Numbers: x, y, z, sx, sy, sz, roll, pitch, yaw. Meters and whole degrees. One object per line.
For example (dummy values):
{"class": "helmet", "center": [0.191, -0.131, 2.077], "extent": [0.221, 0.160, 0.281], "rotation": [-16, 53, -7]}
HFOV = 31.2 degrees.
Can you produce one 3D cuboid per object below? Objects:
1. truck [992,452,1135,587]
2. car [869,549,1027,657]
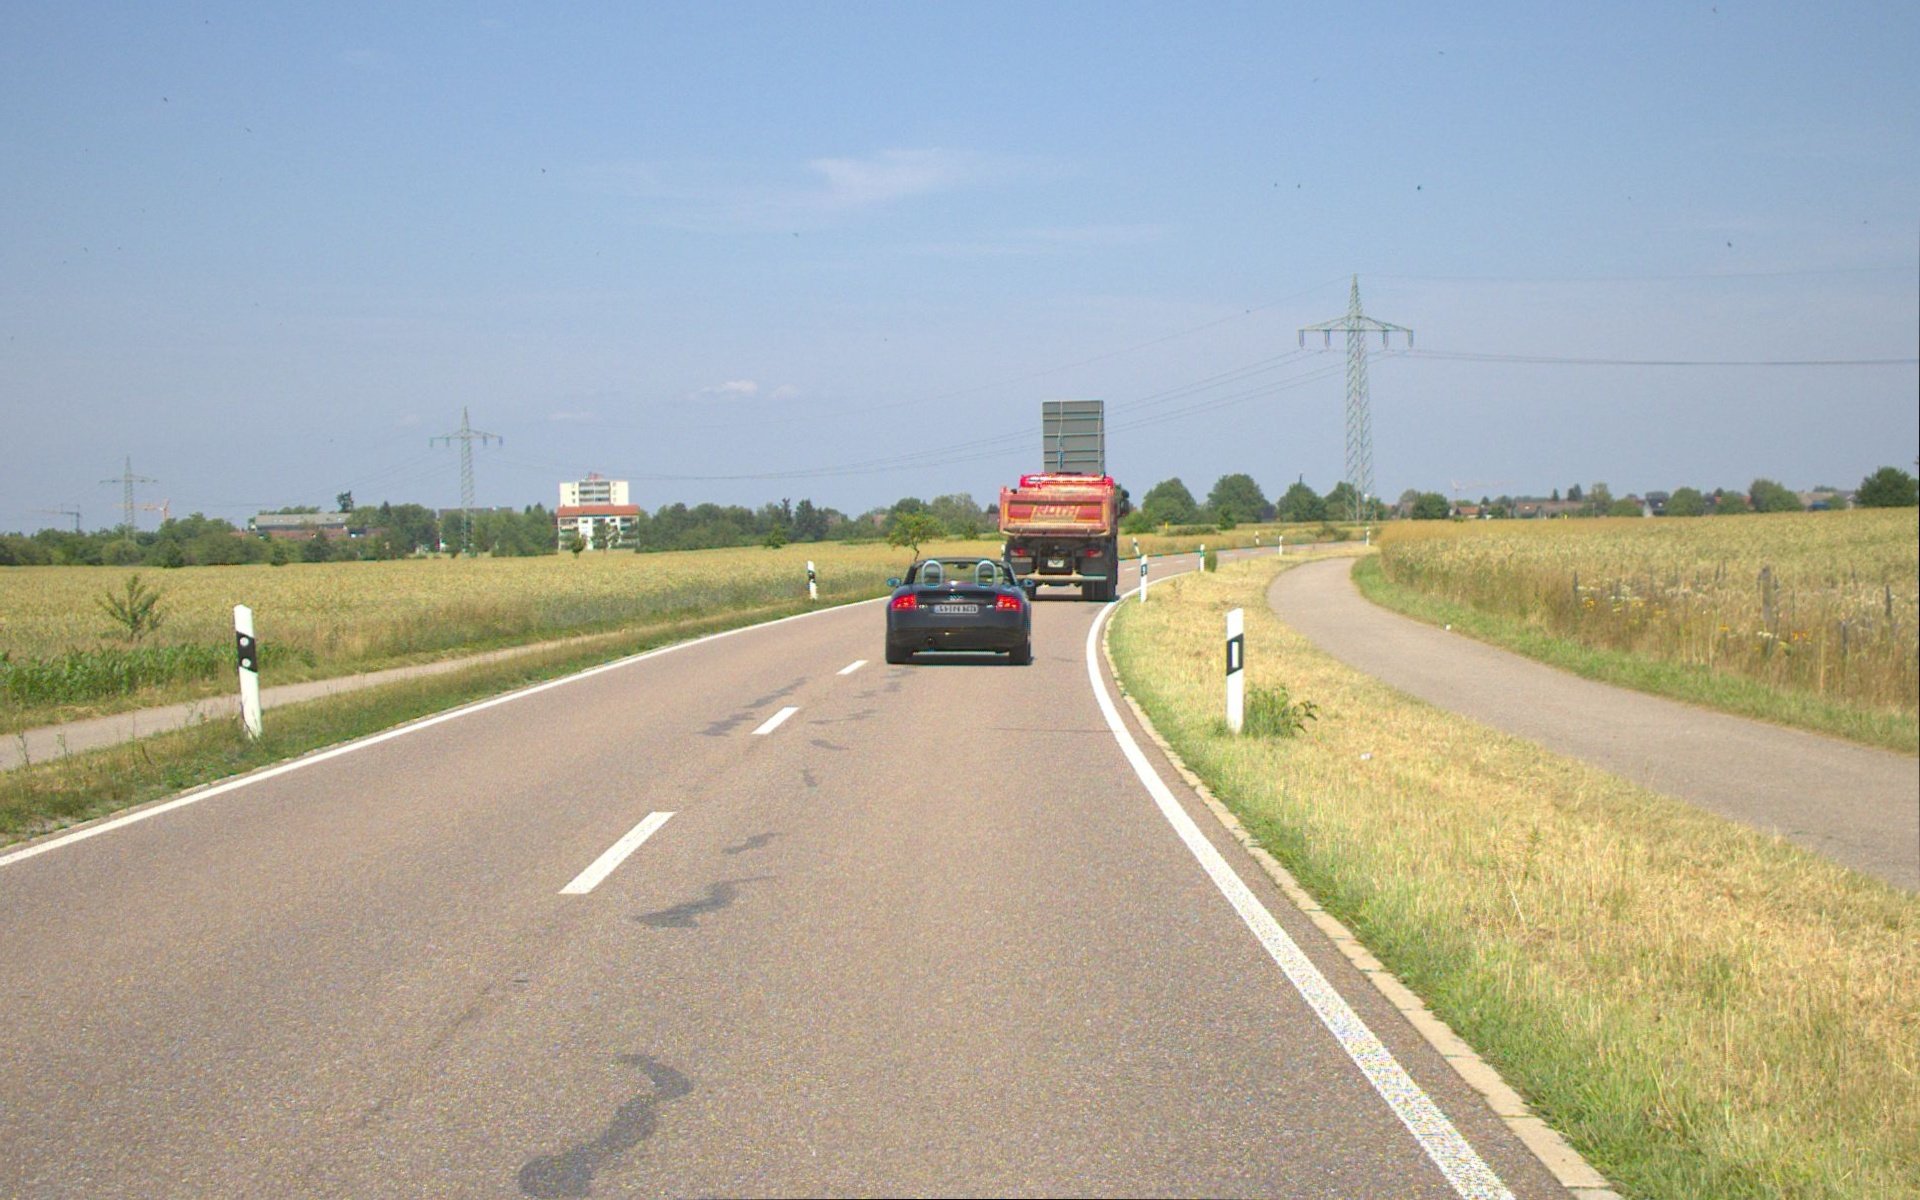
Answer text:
{"class": "truck", "center": [2.551, -1.877, 82.336], "extent": [2.938, 3.078, 7.195], "rotation": [0, 0, 6]}
{"class": "car", "center": [-0.102, 0.014, 42.800], "extent": [1.744, 1.275, 4.000], "rotation": [0, 1, 3]}
